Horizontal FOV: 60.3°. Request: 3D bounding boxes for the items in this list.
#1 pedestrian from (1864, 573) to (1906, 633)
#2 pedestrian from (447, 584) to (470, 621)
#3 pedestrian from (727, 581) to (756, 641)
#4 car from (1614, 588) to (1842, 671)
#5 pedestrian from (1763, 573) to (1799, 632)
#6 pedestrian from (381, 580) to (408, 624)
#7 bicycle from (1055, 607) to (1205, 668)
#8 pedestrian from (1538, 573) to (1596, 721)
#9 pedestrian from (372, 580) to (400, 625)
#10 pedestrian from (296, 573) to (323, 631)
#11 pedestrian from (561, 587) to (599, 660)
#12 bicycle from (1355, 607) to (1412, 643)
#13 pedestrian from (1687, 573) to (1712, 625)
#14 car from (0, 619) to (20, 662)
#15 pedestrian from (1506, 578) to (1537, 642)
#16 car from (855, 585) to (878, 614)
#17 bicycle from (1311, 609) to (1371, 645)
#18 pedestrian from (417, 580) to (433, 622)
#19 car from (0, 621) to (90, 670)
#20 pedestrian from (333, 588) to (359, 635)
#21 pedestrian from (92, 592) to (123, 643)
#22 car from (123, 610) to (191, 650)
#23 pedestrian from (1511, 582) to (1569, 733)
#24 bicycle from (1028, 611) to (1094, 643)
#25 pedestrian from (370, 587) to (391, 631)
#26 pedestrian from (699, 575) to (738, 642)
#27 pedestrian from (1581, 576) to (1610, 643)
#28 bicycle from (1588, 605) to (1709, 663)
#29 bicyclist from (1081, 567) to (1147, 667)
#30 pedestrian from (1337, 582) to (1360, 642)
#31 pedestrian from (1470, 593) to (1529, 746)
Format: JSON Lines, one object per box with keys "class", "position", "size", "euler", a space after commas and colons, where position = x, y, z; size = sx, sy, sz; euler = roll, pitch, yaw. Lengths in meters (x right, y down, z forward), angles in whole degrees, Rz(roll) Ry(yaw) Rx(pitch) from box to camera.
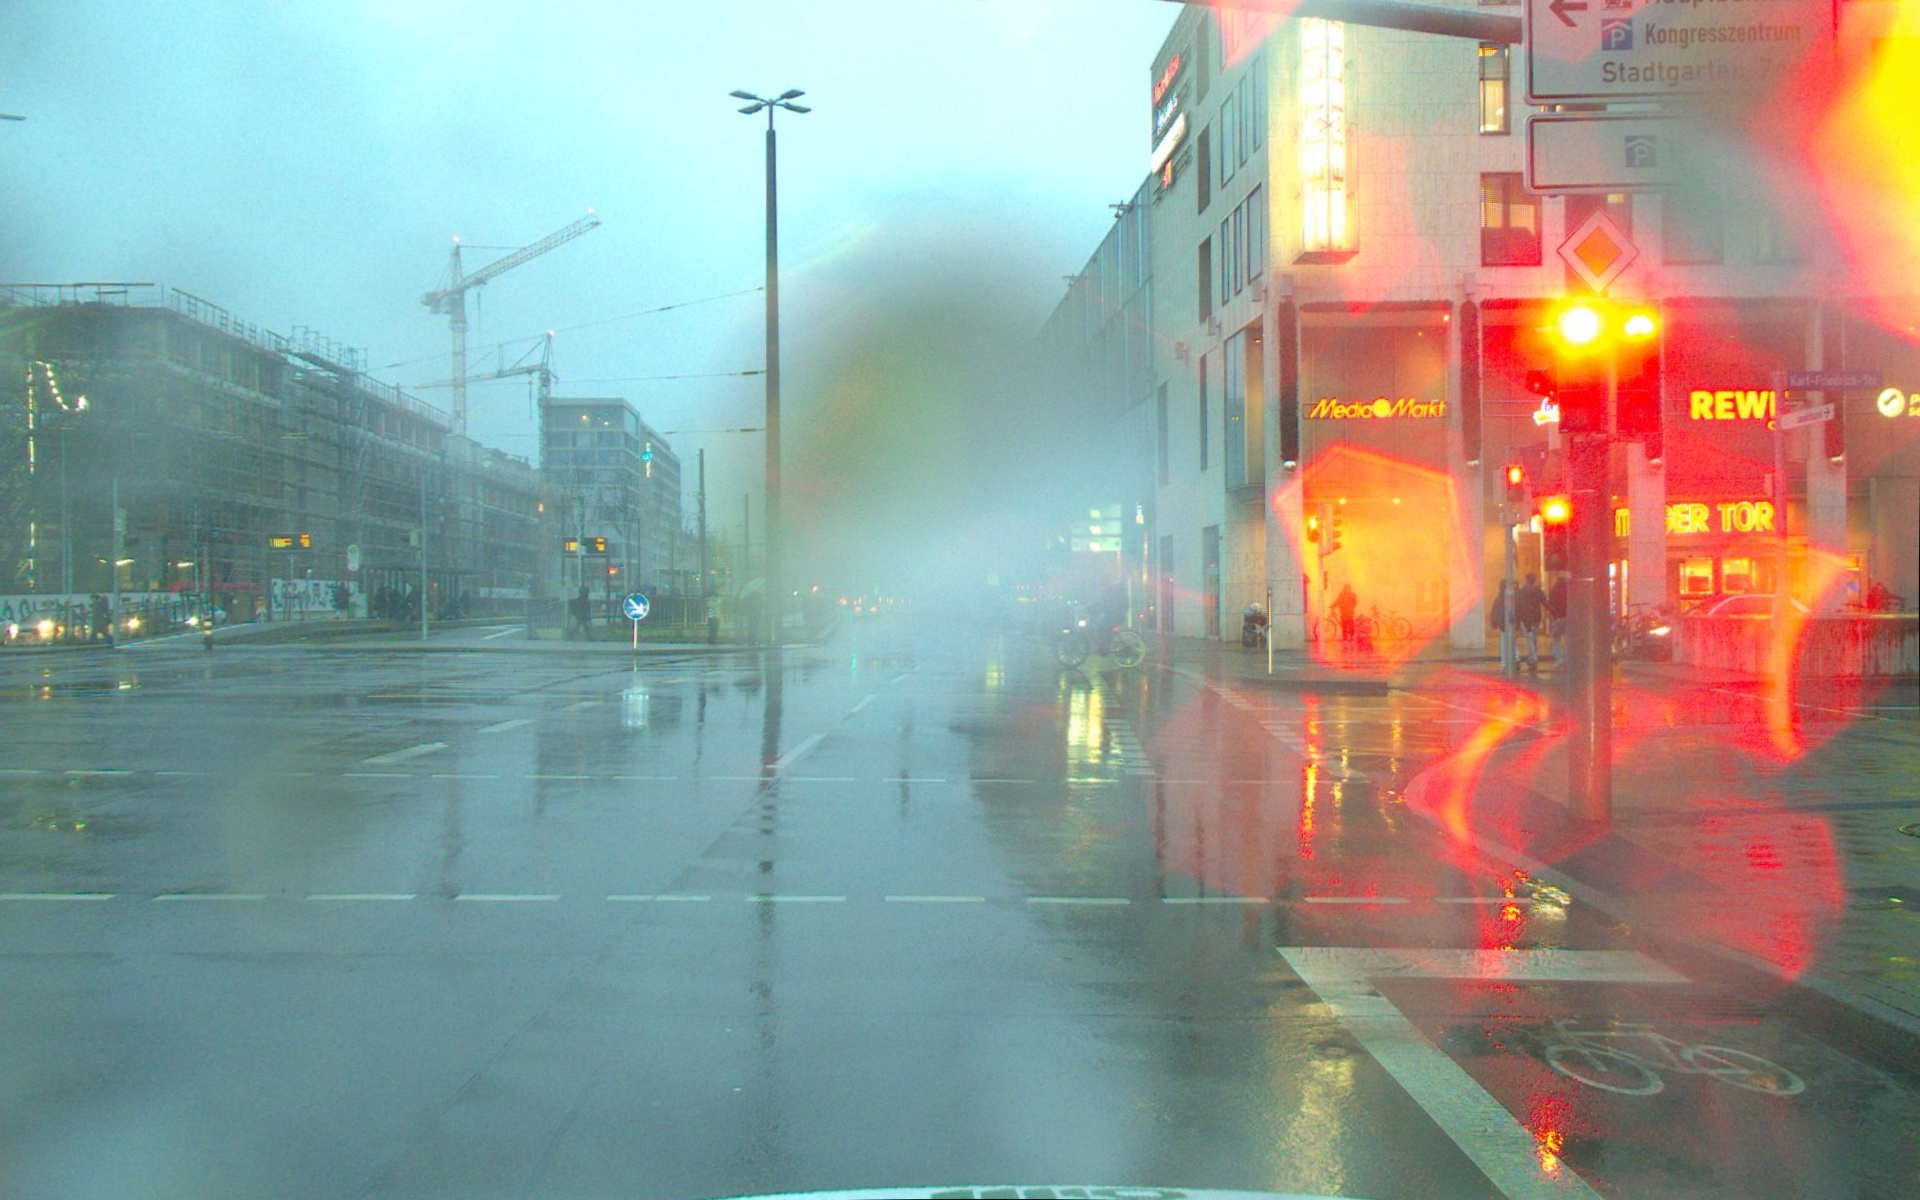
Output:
{"class": "pedestrian", "position": [26.872, 0.101, 48.040], "size": [0.875, 1.714, 0.528], "euler": [-1, -1, -1]}
{"class": "pedestrian", "position": [-27.589, 0.143, 90.931], "size": [0.923, 2.049, 1.093], "euler": [1, -1, -3]}
{"class": "pedestrian", "position": [-6.328, 0.325, 47.900], "size": [0.601, 1.715, 0.575], "euler": [0, -1, 41]}
{"class": "car", "position": [16.234, 0.607, 35.108], "size": [3.905, 1.646, 2.000], "euler": [1, 0, 0]}
{"class": "pedestrian", "position": [24.298, 0.077, 48.956], "size": [0.726, 1.713, 0.782], "euler": [1, -1, 5]}
{"class": "pedestrian", "position": [-26.792, 0.104, 78.360], "size": [0.923, 2.049, 1.093], "euler": [1, -1, -3]}
{"class": "bicycle", "position": [3.278, 0.728, 32.039], "size": [2.801, 1.118, 0.744], "euler": [1, 0, -5]}
{"class": "pedestrian", "position": [10.418, 0.798, 28.413], "size": [0.679, 2.491, 0.791], "euler": [1, -1, -1]}
{"class": "pedestrian", "position": [-26.601, 0.100, 76.653], "size": [0.923, 2.049, 1.093], "euler": [1, -1, -3]}
{"class": "pedestrian", "position": [-26.858, 0.078, 68.336], "size": [0.750, 2.364, 0.762], "euler": [1, -2, -1]}
{"class": "pedestrian", "position": [-10.833, 0.673, 47.166], "size": [0.771, 2.049, 0.724], "euler": [0, -1, 41]}
{"class": "bicycle", "position": [13.046, 0.776, 50.991], "size": [1.614, 1.088, 0.524], "euler": [1, -1, -5]}
{"class": "pedestrian", "position": [25.157, -0.022, 56.288], "size": [0.721, 1.748, 0.738], "euler": [-1, -1, 27]}
{"class": "car", "position": [-36.406, 1.516, 60.537], "size": [2.038, 1.557, 4.604], "euler": [-1, 0, -10]}
{"class": "pedestrian", "position": [18.082, 0.315, 53.256], "size": [0.828, 2.049, 0.698], "euler": [-1, 0, 8]}
{"class": "car", "position": [-6.754, -0.056, 119.593], "size": [1.546, 2.049, 3.169], "euler": [-1, 0, -3]}
{"class": "bicycle", "position": [11.610, 0.820, 50.481], "size": [1.729, 1.088, 0.525], "euler": [1, -1, 7]}
{"class": "pedestrian", "position": [-26.034, 0.047, 80.498], "size": [0.559, 2.002, 0.664], "euler": [2, -1, -7]}
{"class": "car", "position": [-37.001, 1.827, 66.941], "size": [1.830, 1.860, 3.993], "euler": [1, 0, -8]}
{"class": "pedestrian", "position": [-25.794, 0.498, 69.494], "size": [0.750, 1.931, 0.762], "euler": [1, -2, -1]}
{"class": "pedestrian", "position": [-24.010, 0.495, 46.610], "size": [0.719, 1.413, 0.719], "euler": [1, -1, -26]}
{"class": "car", "position": [-38.217, 1.421, 78.801], "size": [1.958, 1.822, 3.989], "euler": [1, 0, -11]}
{"class": "pedestrian", "position": [9.730, 0.958, 27.757], "size": [0.675, 2.484, 0.758], "euler": [1, -1, -1]}
{"class": "bicycle", "position": [3.775, 1.001, 61.645], "size": [2.393, 1.174, 0.674], "euler": [-1, -1, -2]}
{"class": "pedestrian", "position": [-25.319, 0.401, 72.301], "size": [0.684, 1.913, 0.553], "euler": [1, -1, -2]}
{"class": "pedestrian", "position": [-6.780, 0.237, 46.413], "size": [0.813, 1.863, 0.777], "euler": [1, -1, -31]}
{"class": "pedestrian", "position": [19.532, 0.285, 50.851], "size": [0.775, 2.049, 0.593], "euler": [-1, -1, 18]}
{"class": "bicycle", "position": [17.201, 0.838, 41.351], "size": [2.659, 1.383, 0.957], "euler": [-1, -1, -4]}
{"class": "bicyclist", "position": [2.973, 0.324, 32.008], "size": [1.134, 1.904, 0.745], "euler": [1, -1, -5]}
{"class": "pedestrian", "position": [11.707, 0.366, 49.882], "size": [0.587, 1.775, 0.525], "euler": [1, -1, 7]}
{"class": "pedestrian", "position": [8.943, 1.137, 27.428], "size": [0.700, 2.484, 0.758], "euler": [1, -1, -1]}
